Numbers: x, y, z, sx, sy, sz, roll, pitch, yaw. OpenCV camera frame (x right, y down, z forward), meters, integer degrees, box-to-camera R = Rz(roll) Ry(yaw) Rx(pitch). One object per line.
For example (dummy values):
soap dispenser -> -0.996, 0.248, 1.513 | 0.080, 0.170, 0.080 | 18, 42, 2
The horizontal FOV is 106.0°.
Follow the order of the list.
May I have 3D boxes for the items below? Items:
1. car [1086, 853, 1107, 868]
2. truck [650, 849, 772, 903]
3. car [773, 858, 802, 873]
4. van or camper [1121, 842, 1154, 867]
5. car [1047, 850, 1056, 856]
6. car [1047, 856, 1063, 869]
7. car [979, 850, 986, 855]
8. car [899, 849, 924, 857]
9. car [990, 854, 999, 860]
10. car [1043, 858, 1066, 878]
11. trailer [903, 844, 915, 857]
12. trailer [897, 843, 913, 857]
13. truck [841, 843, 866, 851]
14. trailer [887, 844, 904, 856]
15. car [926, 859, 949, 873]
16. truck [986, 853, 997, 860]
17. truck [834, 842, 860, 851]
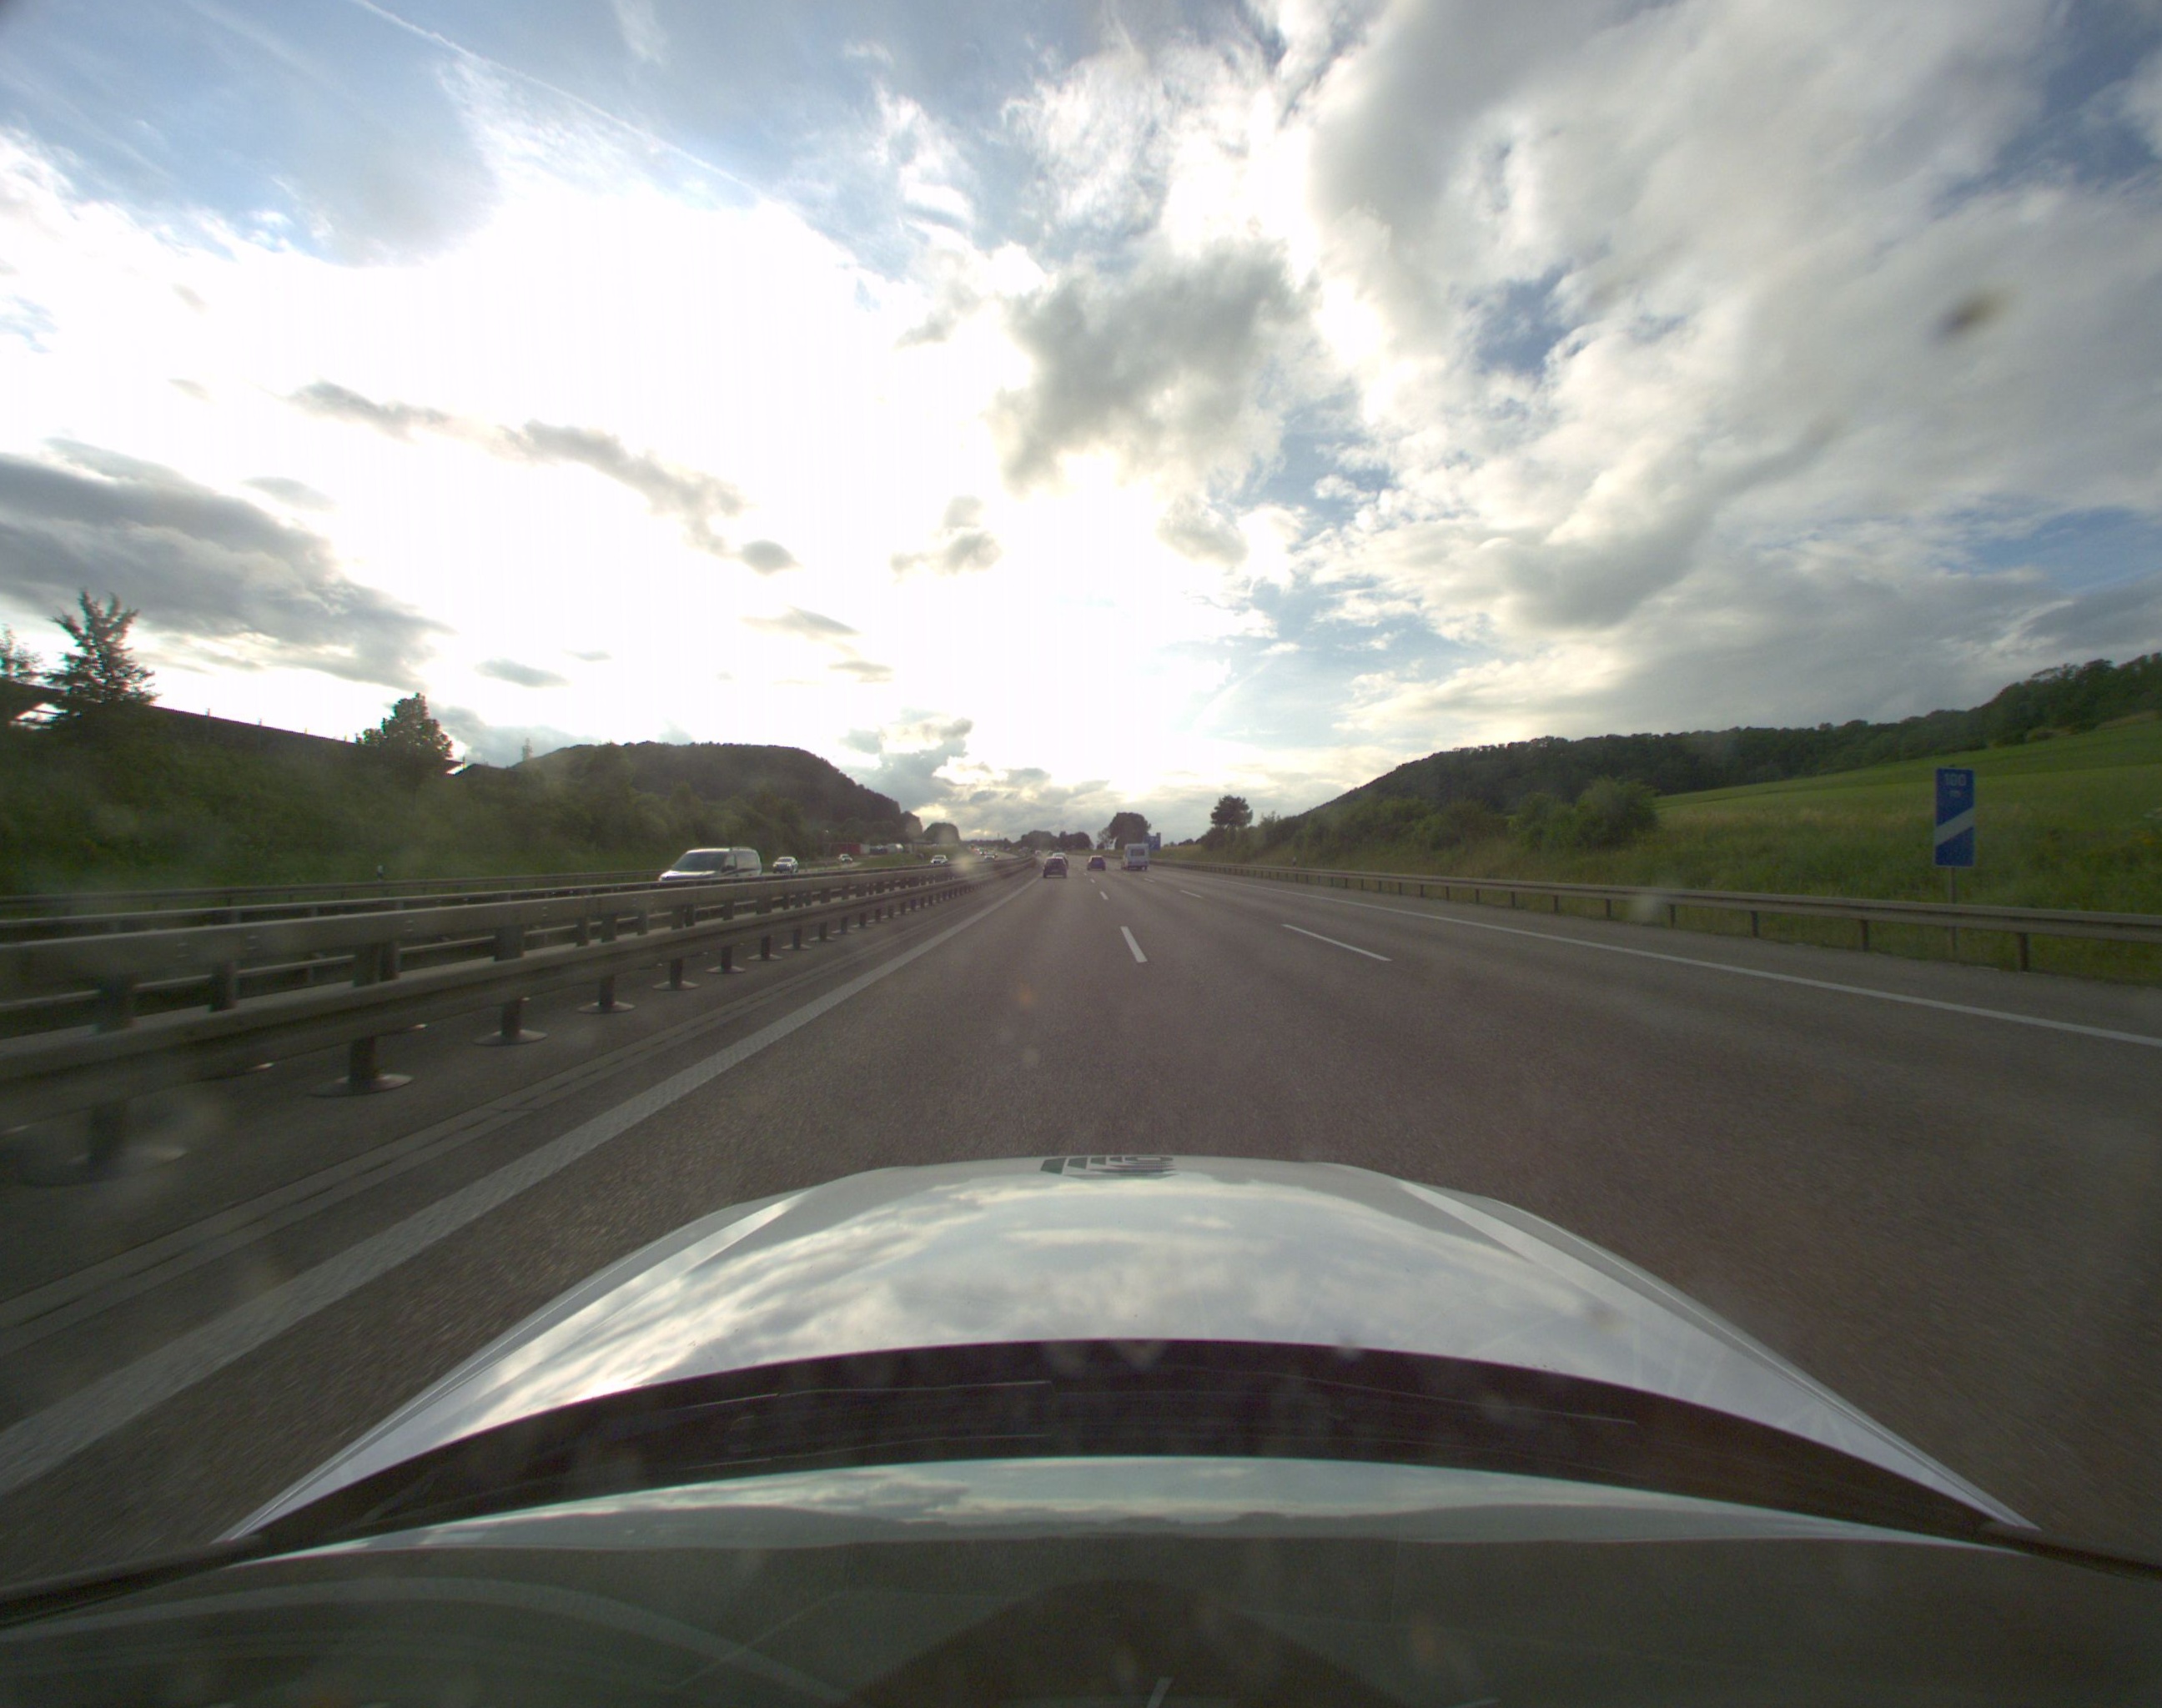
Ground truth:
car -> 1.496, 0.622, 81.466 | 1.763, 1.433, 3.995 | -2, 0, -3
truck -> -12.288, 0.691, 27.444 | 1.989, 1.594, 4.842 | -2, 0, -2
car -> -28.786, 1.120, 79.978 | 1.758, 1.358, 4.371 | -2, 0, -8
van or camper -> 5.412, 0.086, 78.954 | 2.542, 2.239, 5.323 | -1, -1, -3
car -> -8.102, -0.259, 225.400 | 1.949, 1.574, 4.004 | 0, -1, 4
car -> -2.917, 0.911, 90.202 | 1.563, 1.380, 3.993 | -2, 0, -5
car -> -30.086, -0.436, 249.324 | 1.992, 1.497, 4.680 | -3, 0, -7
car -> -32.831, -0.233, 157.776 | 4.611, 1.551, 1.990 | -1, 0, -15
car -> -22.210, 0.865, 210.249 | 1.989, 1.497, 4.686 | -2, 0, -3
car -> -1.877, 1.001, 58.102 | 1.533, 1.348, 3.676 | -1, -1, 0
trailer -> -51.868, -1.135, 246.218 | 2.877, 3.696, 13.630 | -2, 0, -10
trailer -> -48.420, -1.024, 224.085 | 2.875, 3.696, 13.641 | -1, 0, -7
truck -> -61.335, -1.924, 219.507 | 7.214, 2.226, 2.919 | 0, 1, 37
trailer -> -45.464, -0.926, 199.949 | 2.576, 2.853, 12.234 | 0, -1, -6
car -> -18.410, 1.561, 104.654 | 1.986, 1.486, 4.001 | -2, -3, 2
truck -> -17.771, 0.578, 162.420 | 1.989, 1.365, 4.640 | -1, 0, -4
truck -> -61.434, -1.983, 213.891 | 7.213, 2.013, 2.919 | -2, 0, 37
